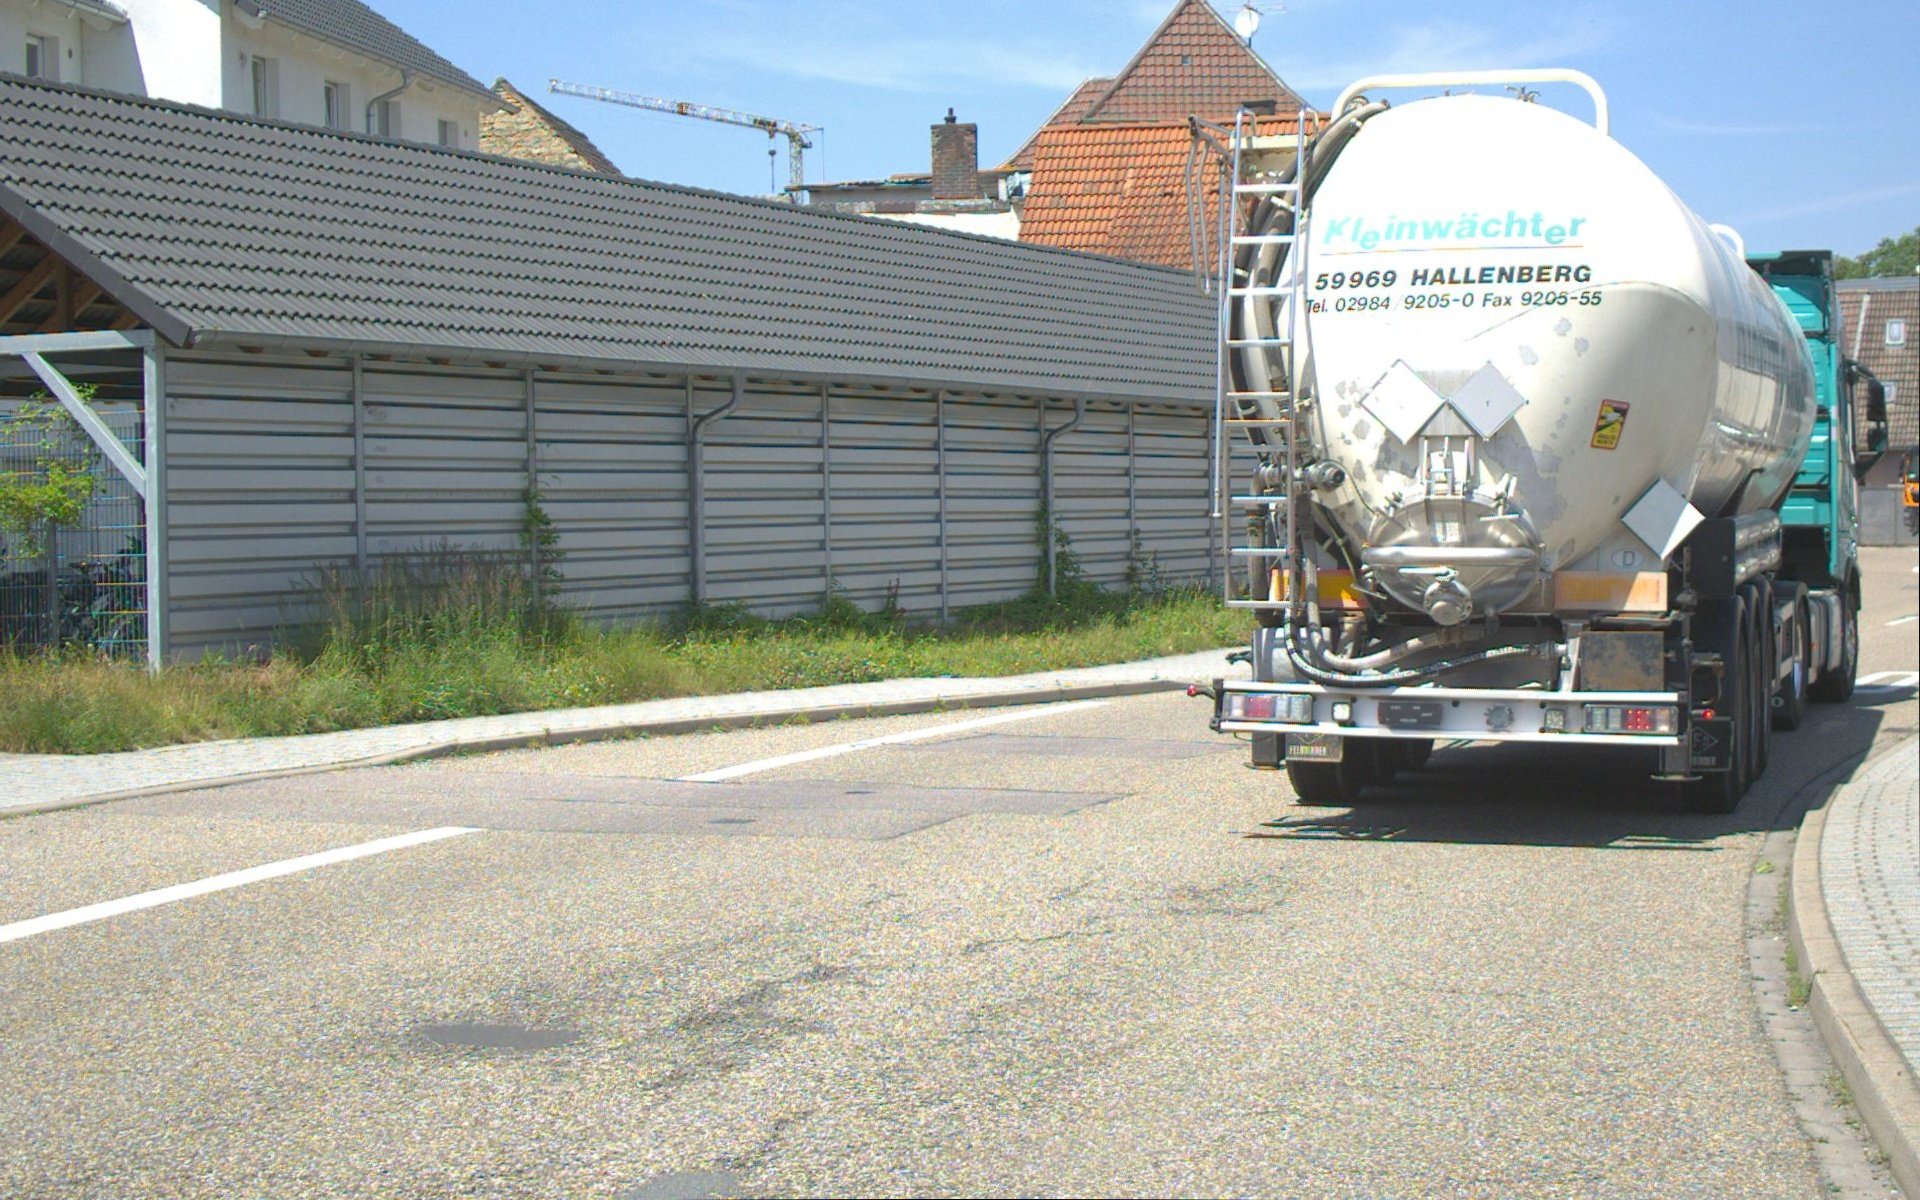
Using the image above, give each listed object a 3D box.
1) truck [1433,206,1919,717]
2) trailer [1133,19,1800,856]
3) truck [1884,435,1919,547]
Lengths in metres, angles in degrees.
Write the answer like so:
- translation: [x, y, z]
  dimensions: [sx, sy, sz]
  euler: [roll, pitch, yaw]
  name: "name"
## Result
- translation: [6.393, -1.123, 29.769]
  dimensions: [2.991, 3.951, 5.571]
  euler: [-1, 1, 25]
  name: "truck"
- translation: [3.771, -0.894, 22.180]
  dimensions: [2.954, 3.934, 11.611]
  euler: [0, 1, 15]
  name: "trailer"
- translation: [30.528, -3.104, 99.932]
  dimensions: [7.438, 3.170, 2.670]
  euler: [0, 0, -31]
  name: "truck"
